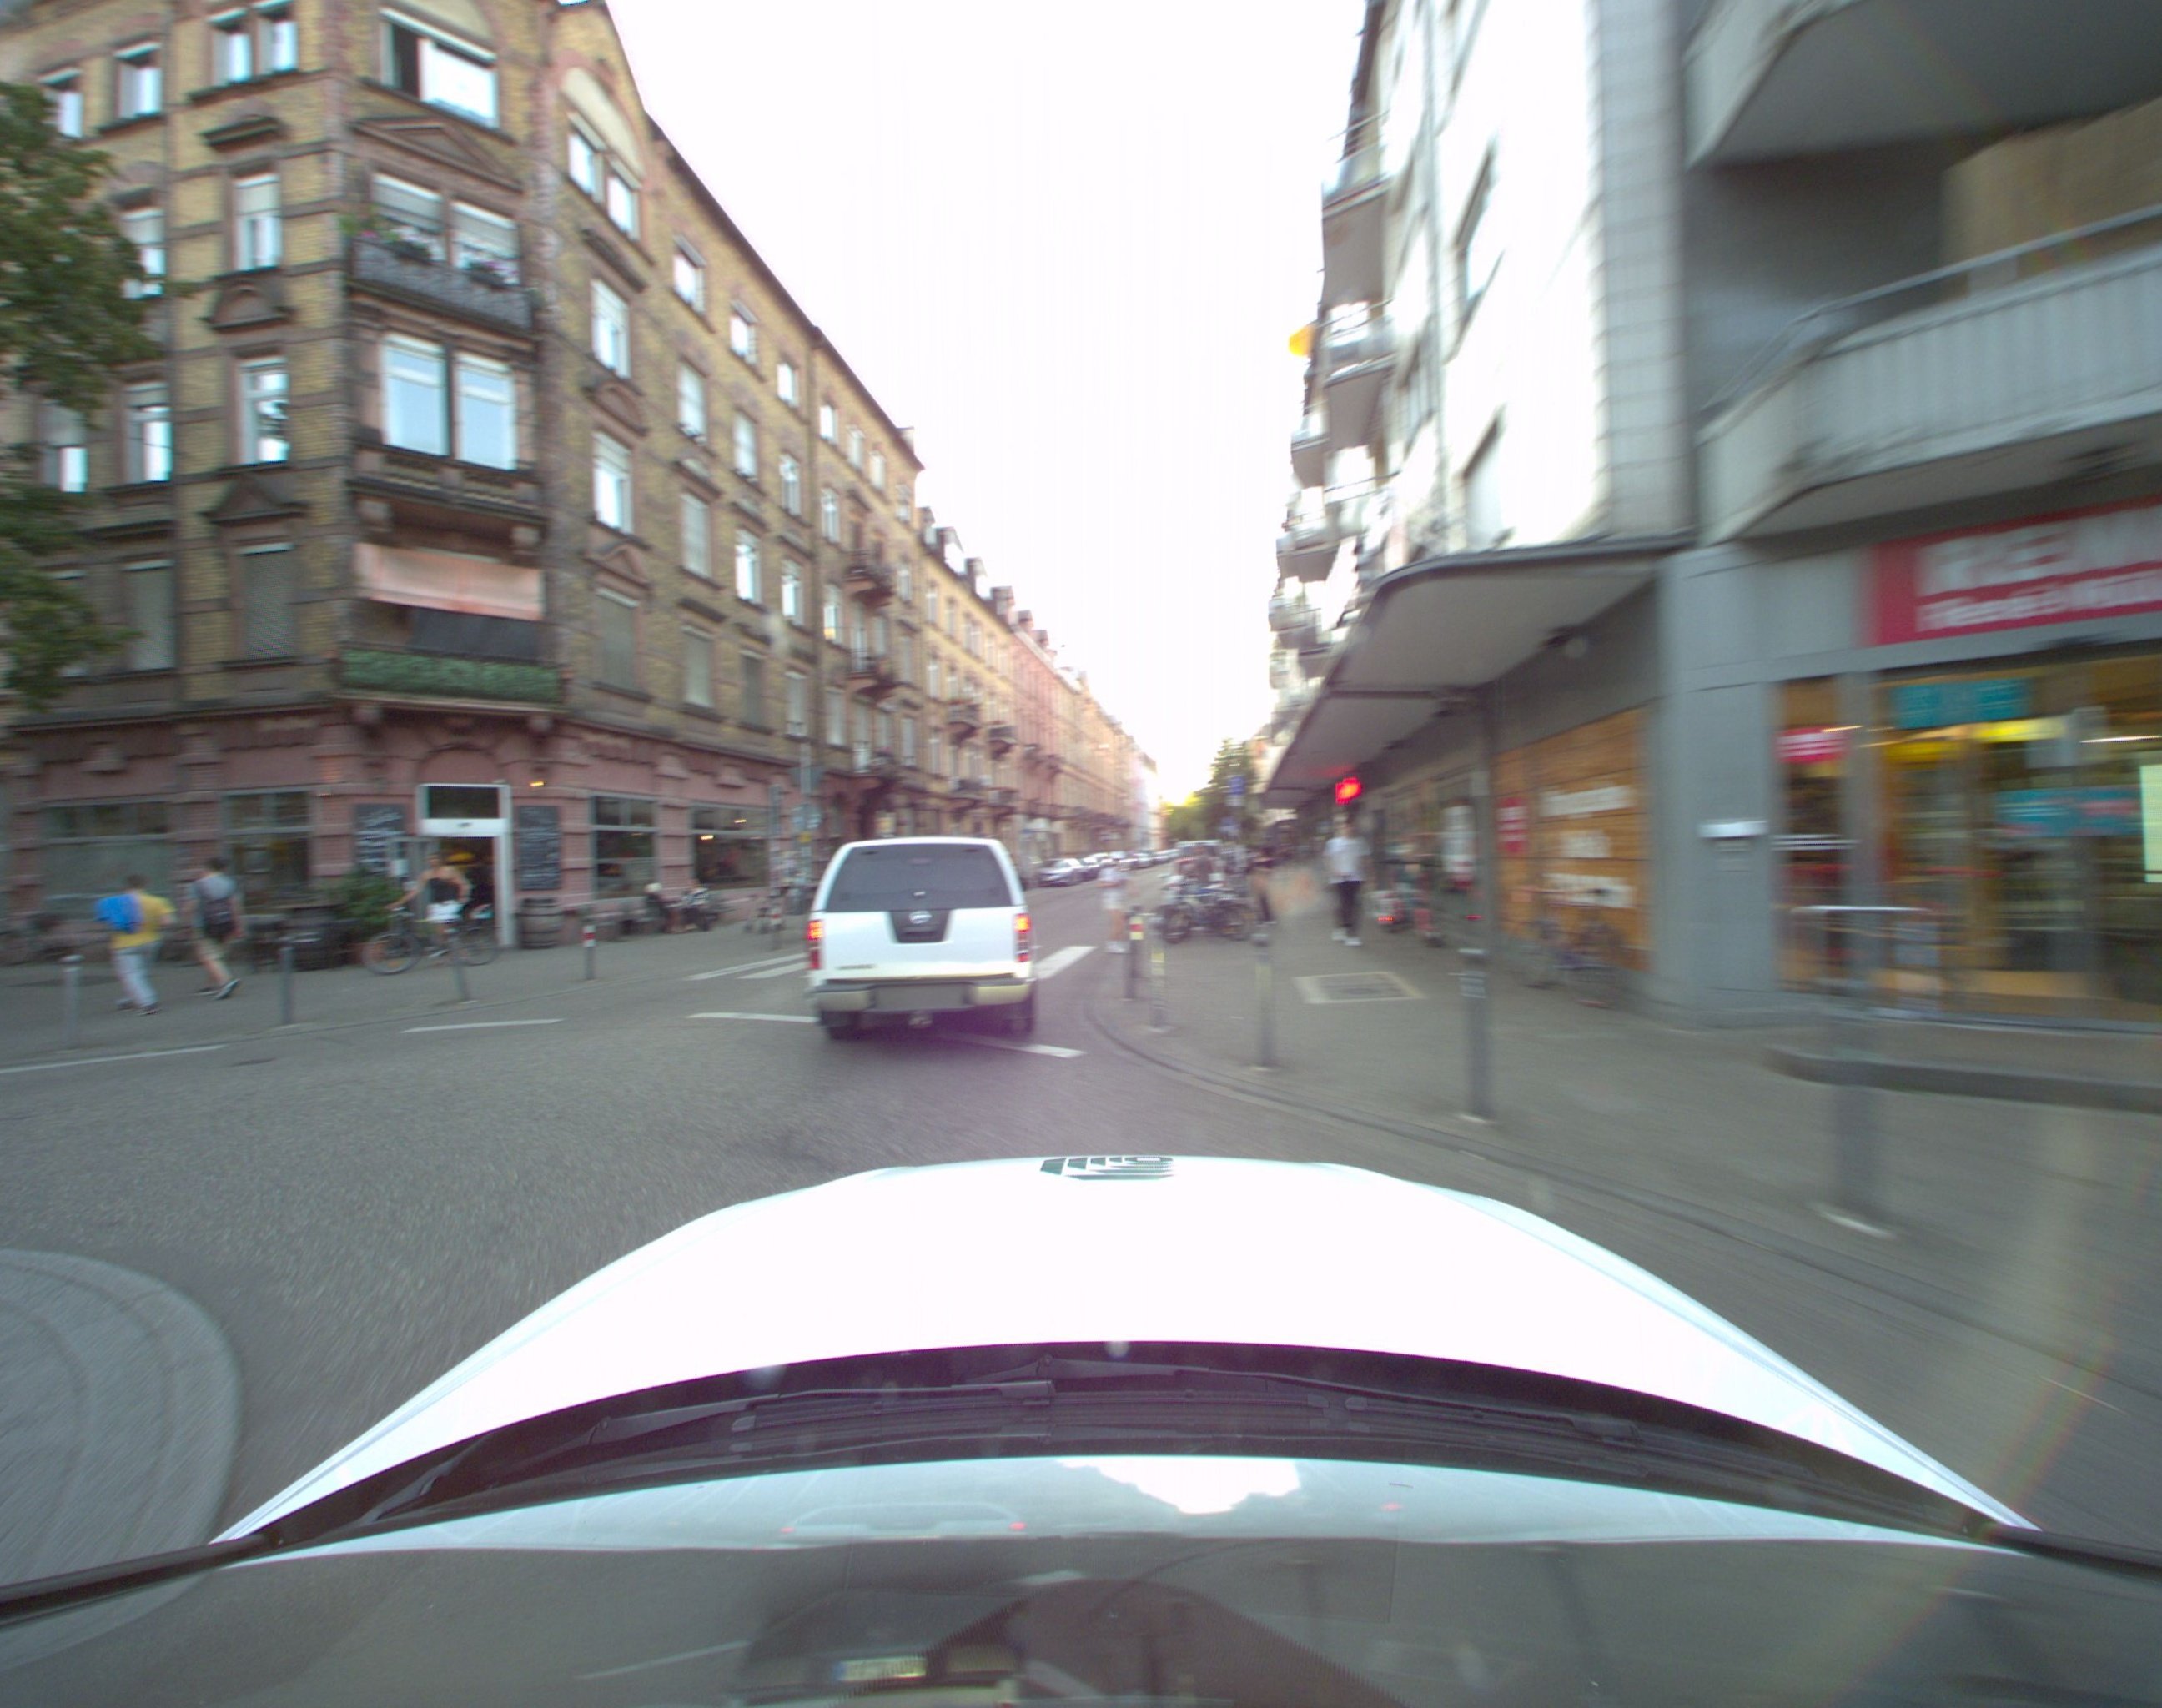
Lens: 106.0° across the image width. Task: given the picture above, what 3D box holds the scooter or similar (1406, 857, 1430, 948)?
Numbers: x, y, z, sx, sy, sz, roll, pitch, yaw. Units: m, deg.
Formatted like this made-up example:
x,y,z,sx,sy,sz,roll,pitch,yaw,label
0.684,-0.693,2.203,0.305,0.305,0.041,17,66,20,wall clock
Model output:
x,y,z,sx,sy,sz,roll,pitch,yaw,label
4.906,0.688,11.881,0.217,1.237,0.971,-1,1,17,scooter or similar

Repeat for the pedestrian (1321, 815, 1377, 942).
x,y,z,sx,sy,sz,roll,pitch,yaw,label
4.115,0.370,12.557,0.715,1.906,0.704,-1,-1,10,pedestrian

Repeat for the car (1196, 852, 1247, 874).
x,y,z,sx,sy,sz,roll,pitch,yaw,label
11.379,0.748,65.896,3.963,1.750,1.845,0,0,9,car

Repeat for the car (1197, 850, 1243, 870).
x,y,z,sx,sy,sz,roll,pitch,yaw,label
12.480,0.564,73.194,3.963,1.750,1.845,0,0,9,car

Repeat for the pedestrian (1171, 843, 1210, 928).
x,y,z,sx,sy,sz,roll,pitch,yaw,label
2.196,0.624,16.310,0.715,1.663,0.704,-1,-1,10,pedestrian

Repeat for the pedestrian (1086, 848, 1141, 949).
x,y,z,sx,sy,sz,roll,pitch,yaw,label
0.552,0.715,13.511,0.793,1.621,0.946,-1,0,8,pedestrian

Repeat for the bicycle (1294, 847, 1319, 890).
x,y,z,sx,sy,sz,roll,pitch,yaw,label
7.669,0.482,27.755,0.552,1.408,2.100,-1,0,8,bicycle

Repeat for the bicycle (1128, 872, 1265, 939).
x,y,z,sx,sy,sz,roll,pitch,yaw,label
2.154,0.966,15.381,2.449,1.038,0.617,-5,-1,5,bicycle

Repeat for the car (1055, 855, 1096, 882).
x,y,z,sx,sy,sz,roll,pitch,yaw,label
-0.295,0.853,49.556,1.823,1.546,4.048,-1,0,9,car

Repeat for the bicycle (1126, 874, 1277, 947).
x,y,z,sx,sy,sz,roll,pitch,yaw,label
2.052,0.970,14.025,2.449,1.038,0.618,-5,-1,5,bicycle

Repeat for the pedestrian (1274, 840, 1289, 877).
x,y,z,sx,sy,sz,roll,pitch,yaw,label
9.939,0.242,40.362,0.629,1.811,0.487,-1,-1,23,pedestrian

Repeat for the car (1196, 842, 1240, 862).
x,y,z,sx,sy,sz,roll,pitch,yaw,label
12.795,-0.167,76.191,3.963,1.750,1.845,0,0,9,car

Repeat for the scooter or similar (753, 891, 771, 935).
x,y,z,sx,sy,sz,roll,pitch,yaw,label
-7.342,1.331,18.756,0.233,0.929,1.259,0,0,-15,scooter or similar

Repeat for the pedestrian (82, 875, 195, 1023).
x,y,z,sx,sy,sz,roll,pitch,yaw,label
-11.596,1.130,10.029,0.896,1.736,0.619,-1,-1,20,pedestrian

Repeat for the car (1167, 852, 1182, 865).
x,y,z,sx,sy,sz,roll,pitch,yaw,label
12.731,0.584,110.777,1.823,1.750,4.011,-1,0,9,car

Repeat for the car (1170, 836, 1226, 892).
x,y,z,sx,sy,sz,roll,pitch,yaw,label
4.396,0.349,30.280,1.931,1.933,4.011,-1,0,9,car

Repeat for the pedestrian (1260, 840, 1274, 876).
x,y,z,sx,sy,sz,roll,pitch,yaw,label
9.330,0.192,40.847,0.622,1.811,0.792,-1,-1,13,pedestrian

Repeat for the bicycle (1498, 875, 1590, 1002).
x,y,z,sx,sy,sz,roll,pitch,yaw,label
4.385,0.763,7.752,0.288,1.112,0.965,0,0,-2,bicycle

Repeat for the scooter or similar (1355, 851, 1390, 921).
x,y,z,sx,sy,sz,roll,pitch,yaw,label
5.619,0.591,15.755,0.437,1.290,1.673,-1,0,13,scooter or similar

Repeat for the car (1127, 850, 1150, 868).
x,y,z,sx,sy,sz,roll,pitch,yaw,label
5.780,0.527,81.599,1.823,1.750,4.011,-1,0,9,car

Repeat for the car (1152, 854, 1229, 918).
x,y,z,sx,sy,sz,roll,pitch,yaw,label
2.956,0.784,21.592,1.823,1.542,4.011,-1,0,9,car

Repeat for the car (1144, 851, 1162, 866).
x,y,z,sx,sy,sz,roll,pitch,yaw,label
8.453,0.560,95.662,1.823,1.750,4.011,-1,0,9,car

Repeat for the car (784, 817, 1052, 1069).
x,y,z,sx,sy,sz,roll,pitch,yaw,label
-1.550,0.692,8.669,1.937,1.810,4.987,-2,-1,-8,car

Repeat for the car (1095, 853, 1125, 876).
x,y,z,sx,sy,sz,roll,pitch,yaw,label
2.333,0.815,64.601,1.823,1.750,4.011,-1,0,9,car

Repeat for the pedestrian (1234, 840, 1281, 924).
x,y,z,sx,sy,sz,roll,pitch,yaw,label
3.624,0.562,16.734,0.713,1.663,0.707,-1,-1,35,pedestrian

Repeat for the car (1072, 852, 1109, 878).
x,y,z,sx,sy,sz,roll,pitch,yaw,label
0.685,0.700,54.524,1.823,1.678,4.048,-1,0,9,car

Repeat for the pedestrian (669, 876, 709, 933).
x,y,z,sx,sy,sz,roll,pitch,yaw,label
-9.111,1.164,18.943,0.645,1.286,0.541,0,-1,6,pedestrian

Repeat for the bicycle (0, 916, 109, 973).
x,y,z,sx,sy,sz,roll,pitch,yaw,label
-19.250,1.626,14.797,2.879,0.958,0.627,0,0,9,bicycle

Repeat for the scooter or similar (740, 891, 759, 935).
x,y,z,sx,sy,sz,roll,pitch,yaw,label
-7.595,1.333,18.682,0.233,0.929,1.259,0,0,-15,scooter or similar

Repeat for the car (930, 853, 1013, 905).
x,y,z,sx,sy,sz,roll,pitch,yaw,label
-3.841,0.847,29.158,1.823,1.750,4.011,-1,0,9,car

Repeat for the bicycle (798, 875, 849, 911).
x,y,z,sx,sy,sz,roll,pitch,yaw,label
-8.171,1.224,25.927,0.384,1.036,2.490,-1,0,11,bicycle

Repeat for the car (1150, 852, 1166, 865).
x,y,z,sx,sy,sz,roll,pitch,yaw,label
10.862,0.615,114.692,1.823,1.750,4.011,-1,0,9,car

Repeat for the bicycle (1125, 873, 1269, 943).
x,y,z,sx,sy,sz,roll,pitch,yaw,label
2.073,0.964,14.713,2.449,1.038,0.617,-5,-1,5,bicycle

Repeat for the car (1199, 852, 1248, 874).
x,y,z,sx,sy,sz,roll,pitch,yaw,label
12.030,0.754,68.804,3.963,1.750,1.845,0,0,9,car

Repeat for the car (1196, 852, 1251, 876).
x,y,z,sx,sy,sz,roll,pitch,yaw,label
10.692,0.735,61.082,3.963,1.750,1.845,0,0,9,car

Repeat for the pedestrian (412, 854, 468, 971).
x,y,z,sx,sy,sz,roll,pitch,yaw,label
-10.335,0.916,13.143,0.504,1.840,0.570,0,-1,-13,pedestrian

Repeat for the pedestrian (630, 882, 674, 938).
x,y,z,sx,sy,sz,roll,pitch,yaw,label
-9.352,1.209,17.777,0.645,1.191,0.541,0,-1,6,pedestrian

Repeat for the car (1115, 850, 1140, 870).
x,y,z,sx,sy,sz,roll,pitch,yaw,label
4.221,0.542,73.919,1.823,1.750,4.011,-1,0,9,car

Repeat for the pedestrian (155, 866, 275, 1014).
x,y,z,sx,sy,sz,roll,pitch,yaw,label
-11.577,1.114,10.916,0.907,1.885,0.611,0,-1,-21,pedestrian

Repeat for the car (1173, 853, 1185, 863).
x,y,z,sx,sy,sz,roll,pitch,yaw,label
17.244,0.675,143.101,1.823,1.750,4.011,-1,0,9,car

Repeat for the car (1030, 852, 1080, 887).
x,y,z,sx,sy,sz,roll,pitch,yaw,label
-1.334,0.778,43.030,1.823,1.750,4.173,-1,0,9,car

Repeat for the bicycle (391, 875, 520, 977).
x,y,z,sx,sy,sz,roll,pitch,yaw,label
-9.817,1.084,12.879,0.421,1.442,1.908,0,0,6,bicycle
